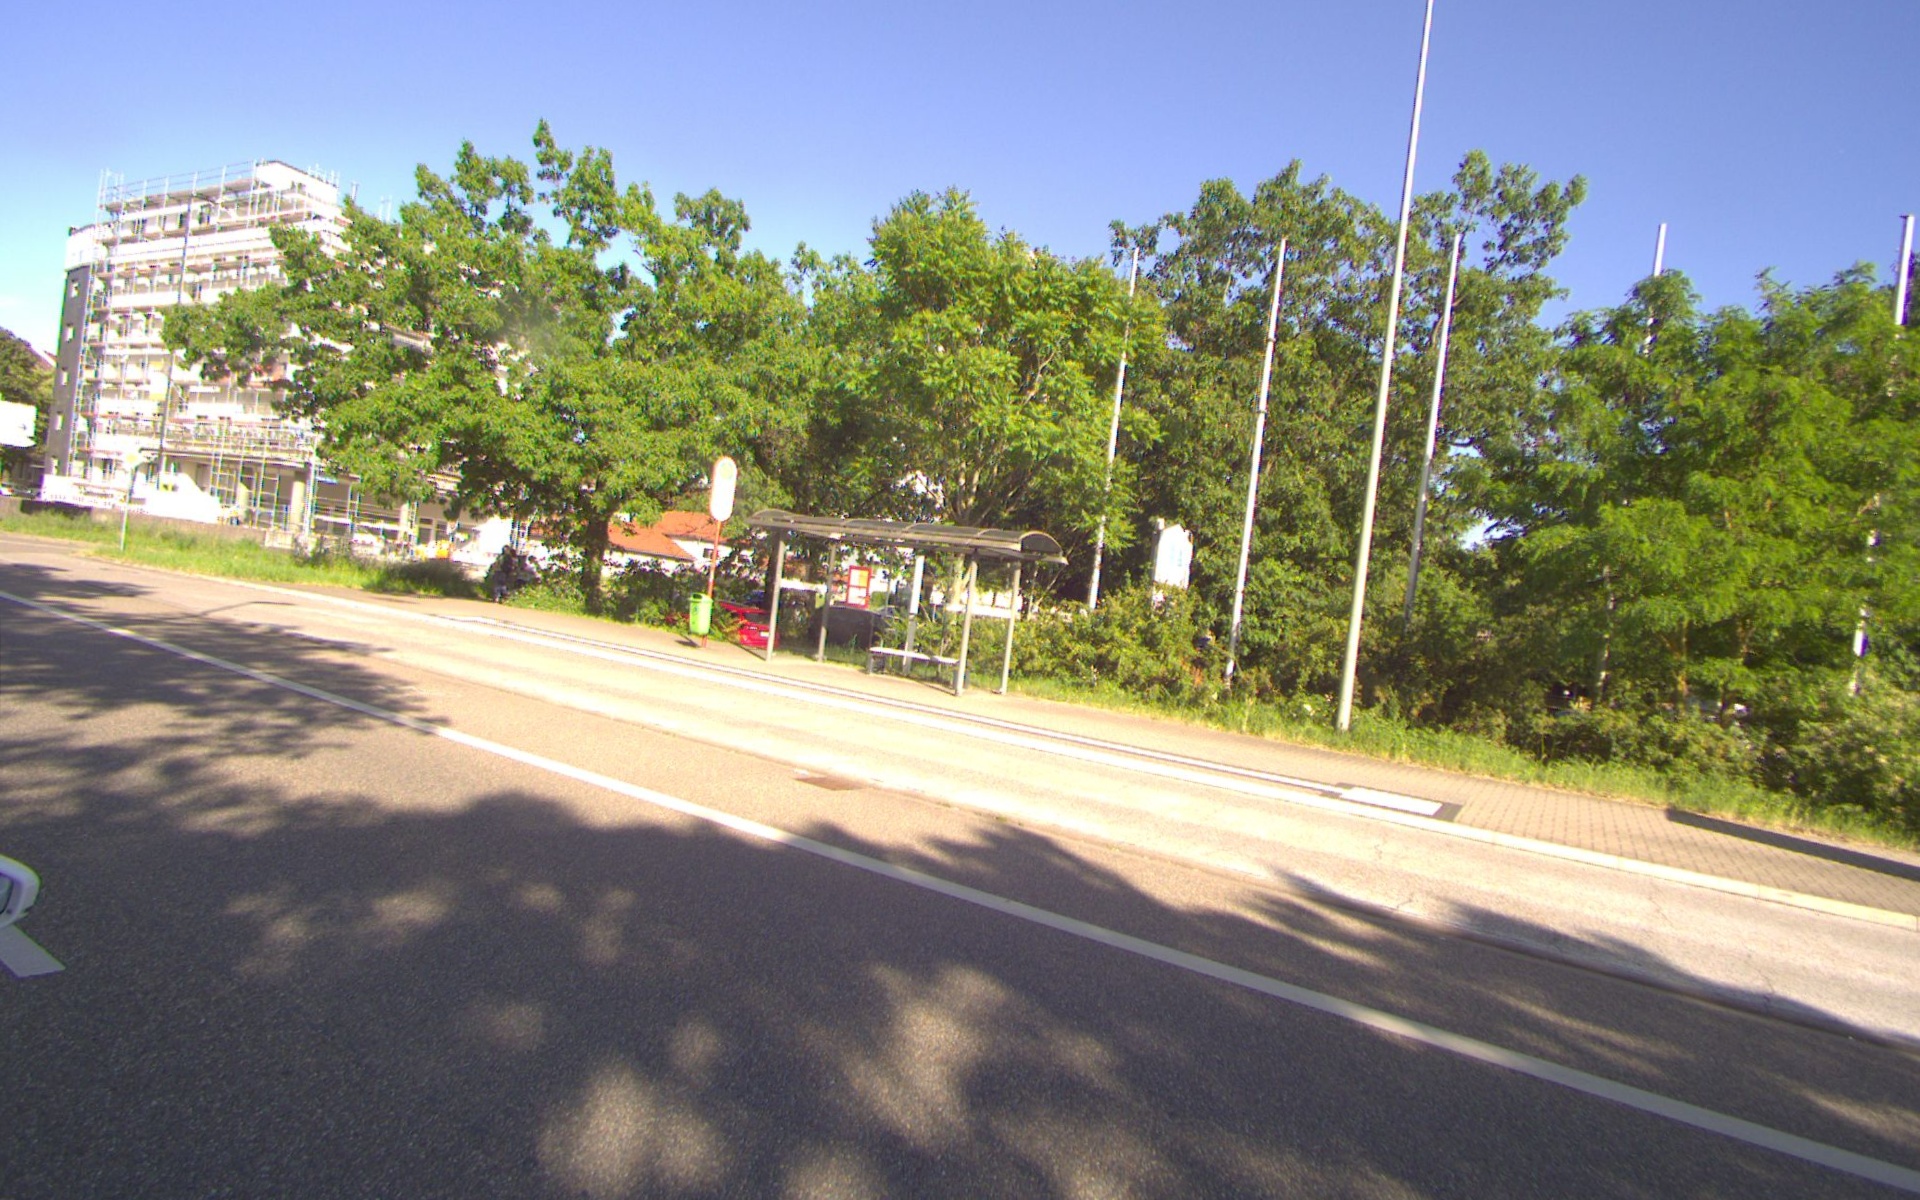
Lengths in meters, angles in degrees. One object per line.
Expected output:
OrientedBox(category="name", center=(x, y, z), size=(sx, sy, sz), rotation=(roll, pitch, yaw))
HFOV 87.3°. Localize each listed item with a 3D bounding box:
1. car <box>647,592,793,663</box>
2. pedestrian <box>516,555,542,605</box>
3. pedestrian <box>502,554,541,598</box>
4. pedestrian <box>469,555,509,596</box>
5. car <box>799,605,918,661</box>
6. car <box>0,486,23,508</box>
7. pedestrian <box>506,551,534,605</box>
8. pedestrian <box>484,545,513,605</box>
OrientedBox(category="car", center=(-6.875, 0.792, 28.746), size=(3.680, 1.504, 1.755), rotation=(7, 0, 28))
OrientedBox(category="pedestrian", center=(-13.400, -0.635, 31.278), size=(0.517, 1.465, 0.587), rotation=(7, 1, -32))
OrientedBox(category="pedestrian", center=(-18.063, -0.987, 41.438), size=(0.969, 1.674, 0.891), rotation=(7, 0, 16))
OrientedBox(category="pedestrian", center=(-18.814, -0.980, 40.161), size=(0.948, 1.465, 0.895), rotation=(7, 0, 17))
OrientedBox(category="car", center=(-3.588, 1.179, 35.980), size=(3.674, 1.504, 1.914), rotation=(7, 0, 13))
OrientedBox(category="car", center=(-66.612, -7.215, 70.160), size=(1.521, 1.330, 3.250), rotation=(7, 0, -40))
OrientedBox(category="pedestrian", center=(-12.704, -0.640, 29.038), size=(0.517, 1.465, 0.587), rotation=(7, 1, -32))
OrientedBox(category="pedestrian", center=(-13.038, -0.704, 28.429), size=(0.517, 1.632, 0.587), rotation=(7, 1, -32))
